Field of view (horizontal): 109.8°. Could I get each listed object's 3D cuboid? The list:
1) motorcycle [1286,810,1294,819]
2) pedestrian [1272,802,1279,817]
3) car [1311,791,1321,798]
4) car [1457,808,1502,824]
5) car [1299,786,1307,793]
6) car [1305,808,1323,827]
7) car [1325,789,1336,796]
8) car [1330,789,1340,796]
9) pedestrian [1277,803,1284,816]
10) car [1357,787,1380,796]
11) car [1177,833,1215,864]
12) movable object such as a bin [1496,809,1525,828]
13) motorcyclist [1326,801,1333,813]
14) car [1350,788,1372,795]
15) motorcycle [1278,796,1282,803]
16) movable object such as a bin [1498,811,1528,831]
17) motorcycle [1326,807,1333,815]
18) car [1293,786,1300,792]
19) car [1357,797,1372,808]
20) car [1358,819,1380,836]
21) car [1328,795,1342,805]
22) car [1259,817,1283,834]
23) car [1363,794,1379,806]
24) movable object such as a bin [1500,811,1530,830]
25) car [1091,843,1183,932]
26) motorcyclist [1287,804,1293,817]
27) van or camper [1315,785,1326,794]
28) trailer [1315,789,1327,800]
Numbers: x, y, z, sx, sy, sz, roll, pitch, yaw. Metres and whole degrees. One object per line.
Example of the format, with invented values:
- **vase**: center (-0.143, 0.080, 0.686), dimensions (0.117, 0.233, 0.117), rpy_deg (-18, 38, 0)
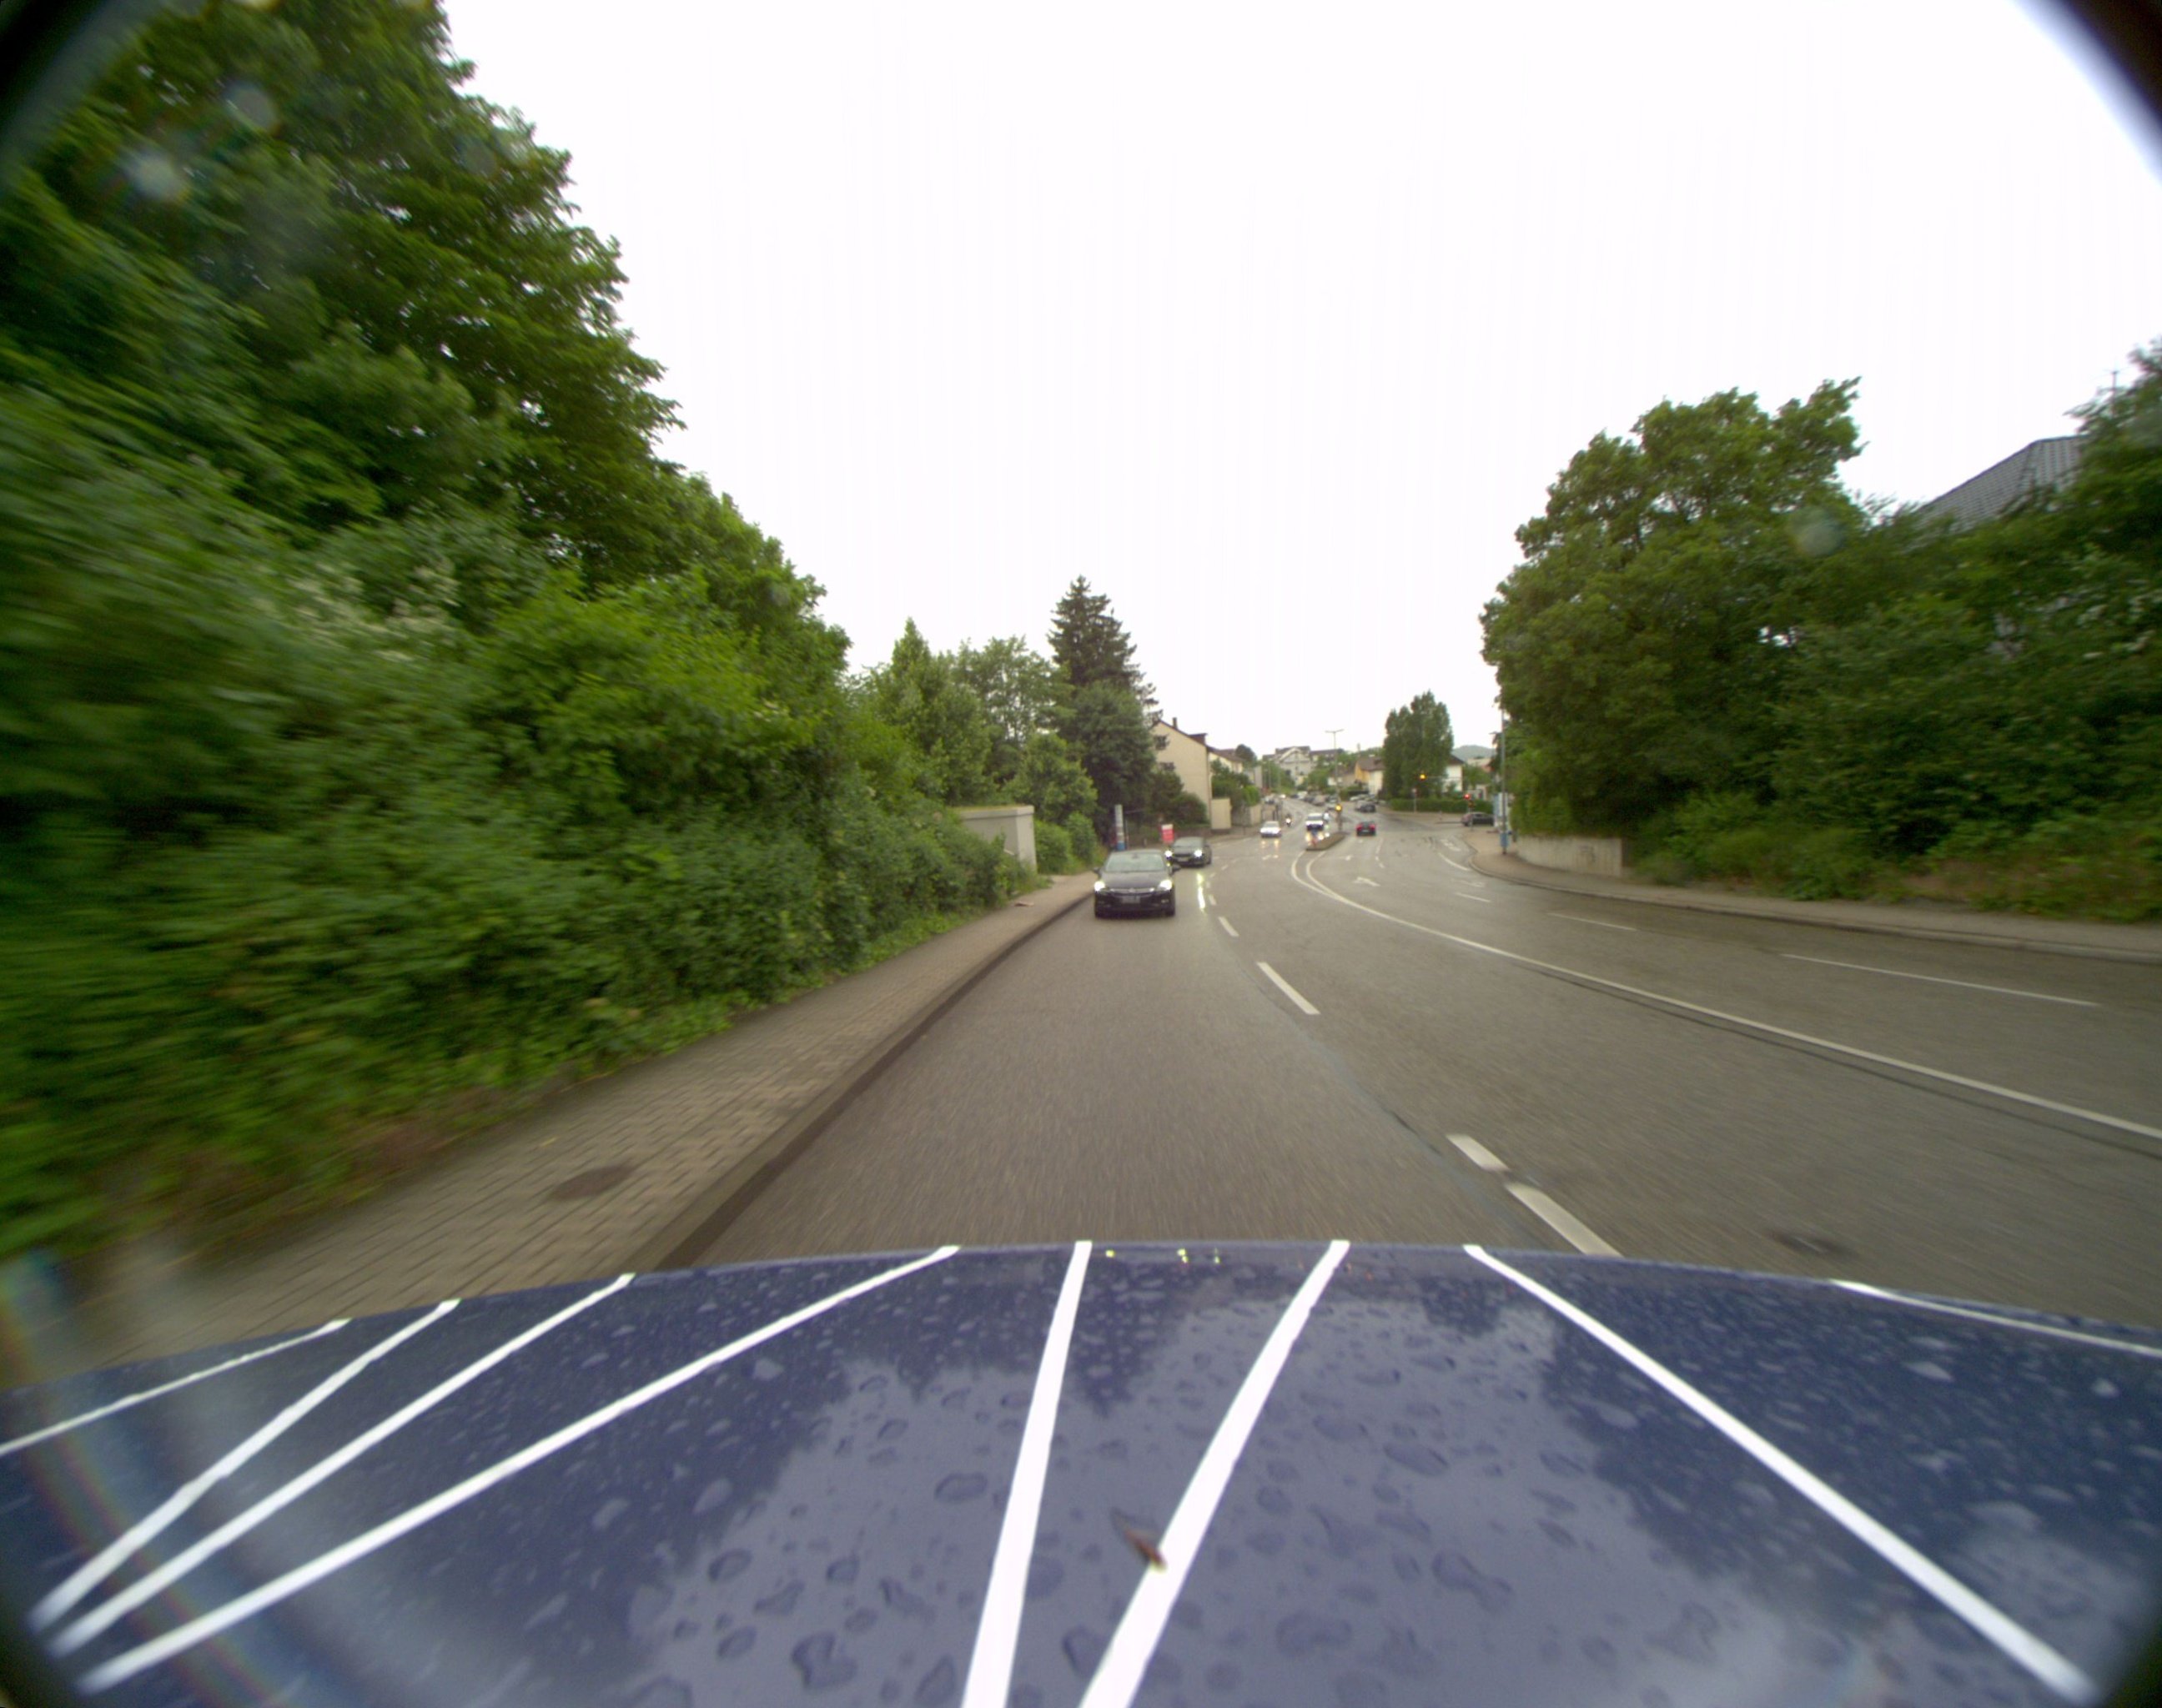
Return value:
- **motorcycle**: center (26.447, -4.949, 96.185), dimensions (0.762, 0.948, 2.442), rpy_deg (-1, 7, 18)
- **pedestrian**: center (27.294, -6.280, 106.433), dimensions (0.798, 2.004, 0.734), rpy_deg (-1, 6, 19)
- **car**: center (53.100, -13.462, 171.867), dimensions (1.843, 1.544, 4.384), rpy_deg (-1, 6, 15)
- **car**: center (43.226, -4.088, 82.486), dimensions (4.050, 1.480, 1.841), rpy_deg (-1, 6, 17)
- **car**: center (57.926, -16.772, 198.442), dimensions (1.838, 1.549, 4.770), rpy_deg (-1, 6, 15)
- **car**: center (26.704, -4.224, 87.180), dimensions (1.954, 1.862, 4.747), rpy_deg (-1, 6, 16)
- **car**: center (57.554, -14.266, 175.274), dimensions (1.808, 1.409, 3.999), rpy_deg (-2, 6, 10)
- **car**: center (56.570, -13.646, 169.406), dimensions (1.807, 1.409, 4.000), rpy_deg (-1, 6, 13)
- **pedestrian**: center (28.285, -6.335, 107.759), dimensions (0.794, 1.772, 1.012), rpy_deg (0, 7, 19)
- **car**: center (60.125, -13.080, 158.934), dimensions (4.105, 1.413, 1.884), rpy_deg (-4, 5, 13)
- **car**: center (5.957, -0.319, 39.476), dimensions (1.839, 1.449, 4.001), rpy_deg (-2, 2, 8)
- **movable object such as a bin**: center (36.657, -3.031, 64.863), dimensions (2.059, 1.560, 1.583), rpy_deg (0, 4, 24)
- **motorcyclist**: center (32.770, -6.210, 100.243), dimensions (0.760, 1.595, 0.808), rpy_deg (-1, 7, 19)
- **car**: center (60.782, -13.558, 164.838), dimensions (4.107, 1.477, 1.839), rpy_deg (1, 5, 6)
- **motorcycle**: center (38.788, -10.668, 147.993), dimensions (0.693, 1.318, 2.479), rpy_deg (-1, 6, 11)
- **movable object such as a bin**: center (36.035, -2.733, 63.436), dimensions (2.059, 1.560, 1.583), rpy_deg (0, 4, 24)
- **motorcycle**: center (32.839, -5.691, 100.400), dimensions (0.762, 0.948, 2.442), rpy_deg (-1, 7, 18)
- **car**: center (61.433, -18.443, 216.340), dimensions (1.714, 1.495, 3.999), rpy_deg (-2, 6, 12)
- **car**: center (48.137, -8.707, 129.216), dimensions (1.807, 1.561, 4.142), rpy_deg (-2, 6, 13)
- **car**: center (27.847, -2.584, 73.593), dimensions (1.894, 1.479, 4.237), rpy_deg (0, 4, 20)
- **car**: center (46.065, -9.842, 137.709), dimensions (1.826, 1.649, 4.466), rpy_deg (-1, 6, 11)
- **car**: center (19.060, -2.838, 76.138), dimensions (1.838, 1.474, 4.002), rpy_deg (-1, 5, 20)
- **car**: center (46.889, -8.700, 122.801), dimensions (1.807, 1.661, 4.597), rpy_deg (-2, 6, 13)
- **movable object such as a bin**: center (35.424, -2.725, 62.060), dimensions (2.059, 1.507, 1.345), rpy_deg (0, 4, 24)
- **car**: center (1.295, 0.669, 17.613), dimensions (1.840, 1.391, 3.997), rpy_deg (-2, 6, 4)
- **motorcyclist**: center (26.452, -5.473, 96.178), dimensions (0.760, 1.595, 0.808), rpy_deg (-1, 7, 18)
- **van or camper**: center (61.600, -16.728, 195.656), dimensions (2.187, 2.004, 5.133), rpy_deg (-2, 6, 12)
- **trailer**: center (49.417, -12.298, 156.564), dimensions (1.899, 2.168, 4.035), rpy_deg (-2, 5, 11)
